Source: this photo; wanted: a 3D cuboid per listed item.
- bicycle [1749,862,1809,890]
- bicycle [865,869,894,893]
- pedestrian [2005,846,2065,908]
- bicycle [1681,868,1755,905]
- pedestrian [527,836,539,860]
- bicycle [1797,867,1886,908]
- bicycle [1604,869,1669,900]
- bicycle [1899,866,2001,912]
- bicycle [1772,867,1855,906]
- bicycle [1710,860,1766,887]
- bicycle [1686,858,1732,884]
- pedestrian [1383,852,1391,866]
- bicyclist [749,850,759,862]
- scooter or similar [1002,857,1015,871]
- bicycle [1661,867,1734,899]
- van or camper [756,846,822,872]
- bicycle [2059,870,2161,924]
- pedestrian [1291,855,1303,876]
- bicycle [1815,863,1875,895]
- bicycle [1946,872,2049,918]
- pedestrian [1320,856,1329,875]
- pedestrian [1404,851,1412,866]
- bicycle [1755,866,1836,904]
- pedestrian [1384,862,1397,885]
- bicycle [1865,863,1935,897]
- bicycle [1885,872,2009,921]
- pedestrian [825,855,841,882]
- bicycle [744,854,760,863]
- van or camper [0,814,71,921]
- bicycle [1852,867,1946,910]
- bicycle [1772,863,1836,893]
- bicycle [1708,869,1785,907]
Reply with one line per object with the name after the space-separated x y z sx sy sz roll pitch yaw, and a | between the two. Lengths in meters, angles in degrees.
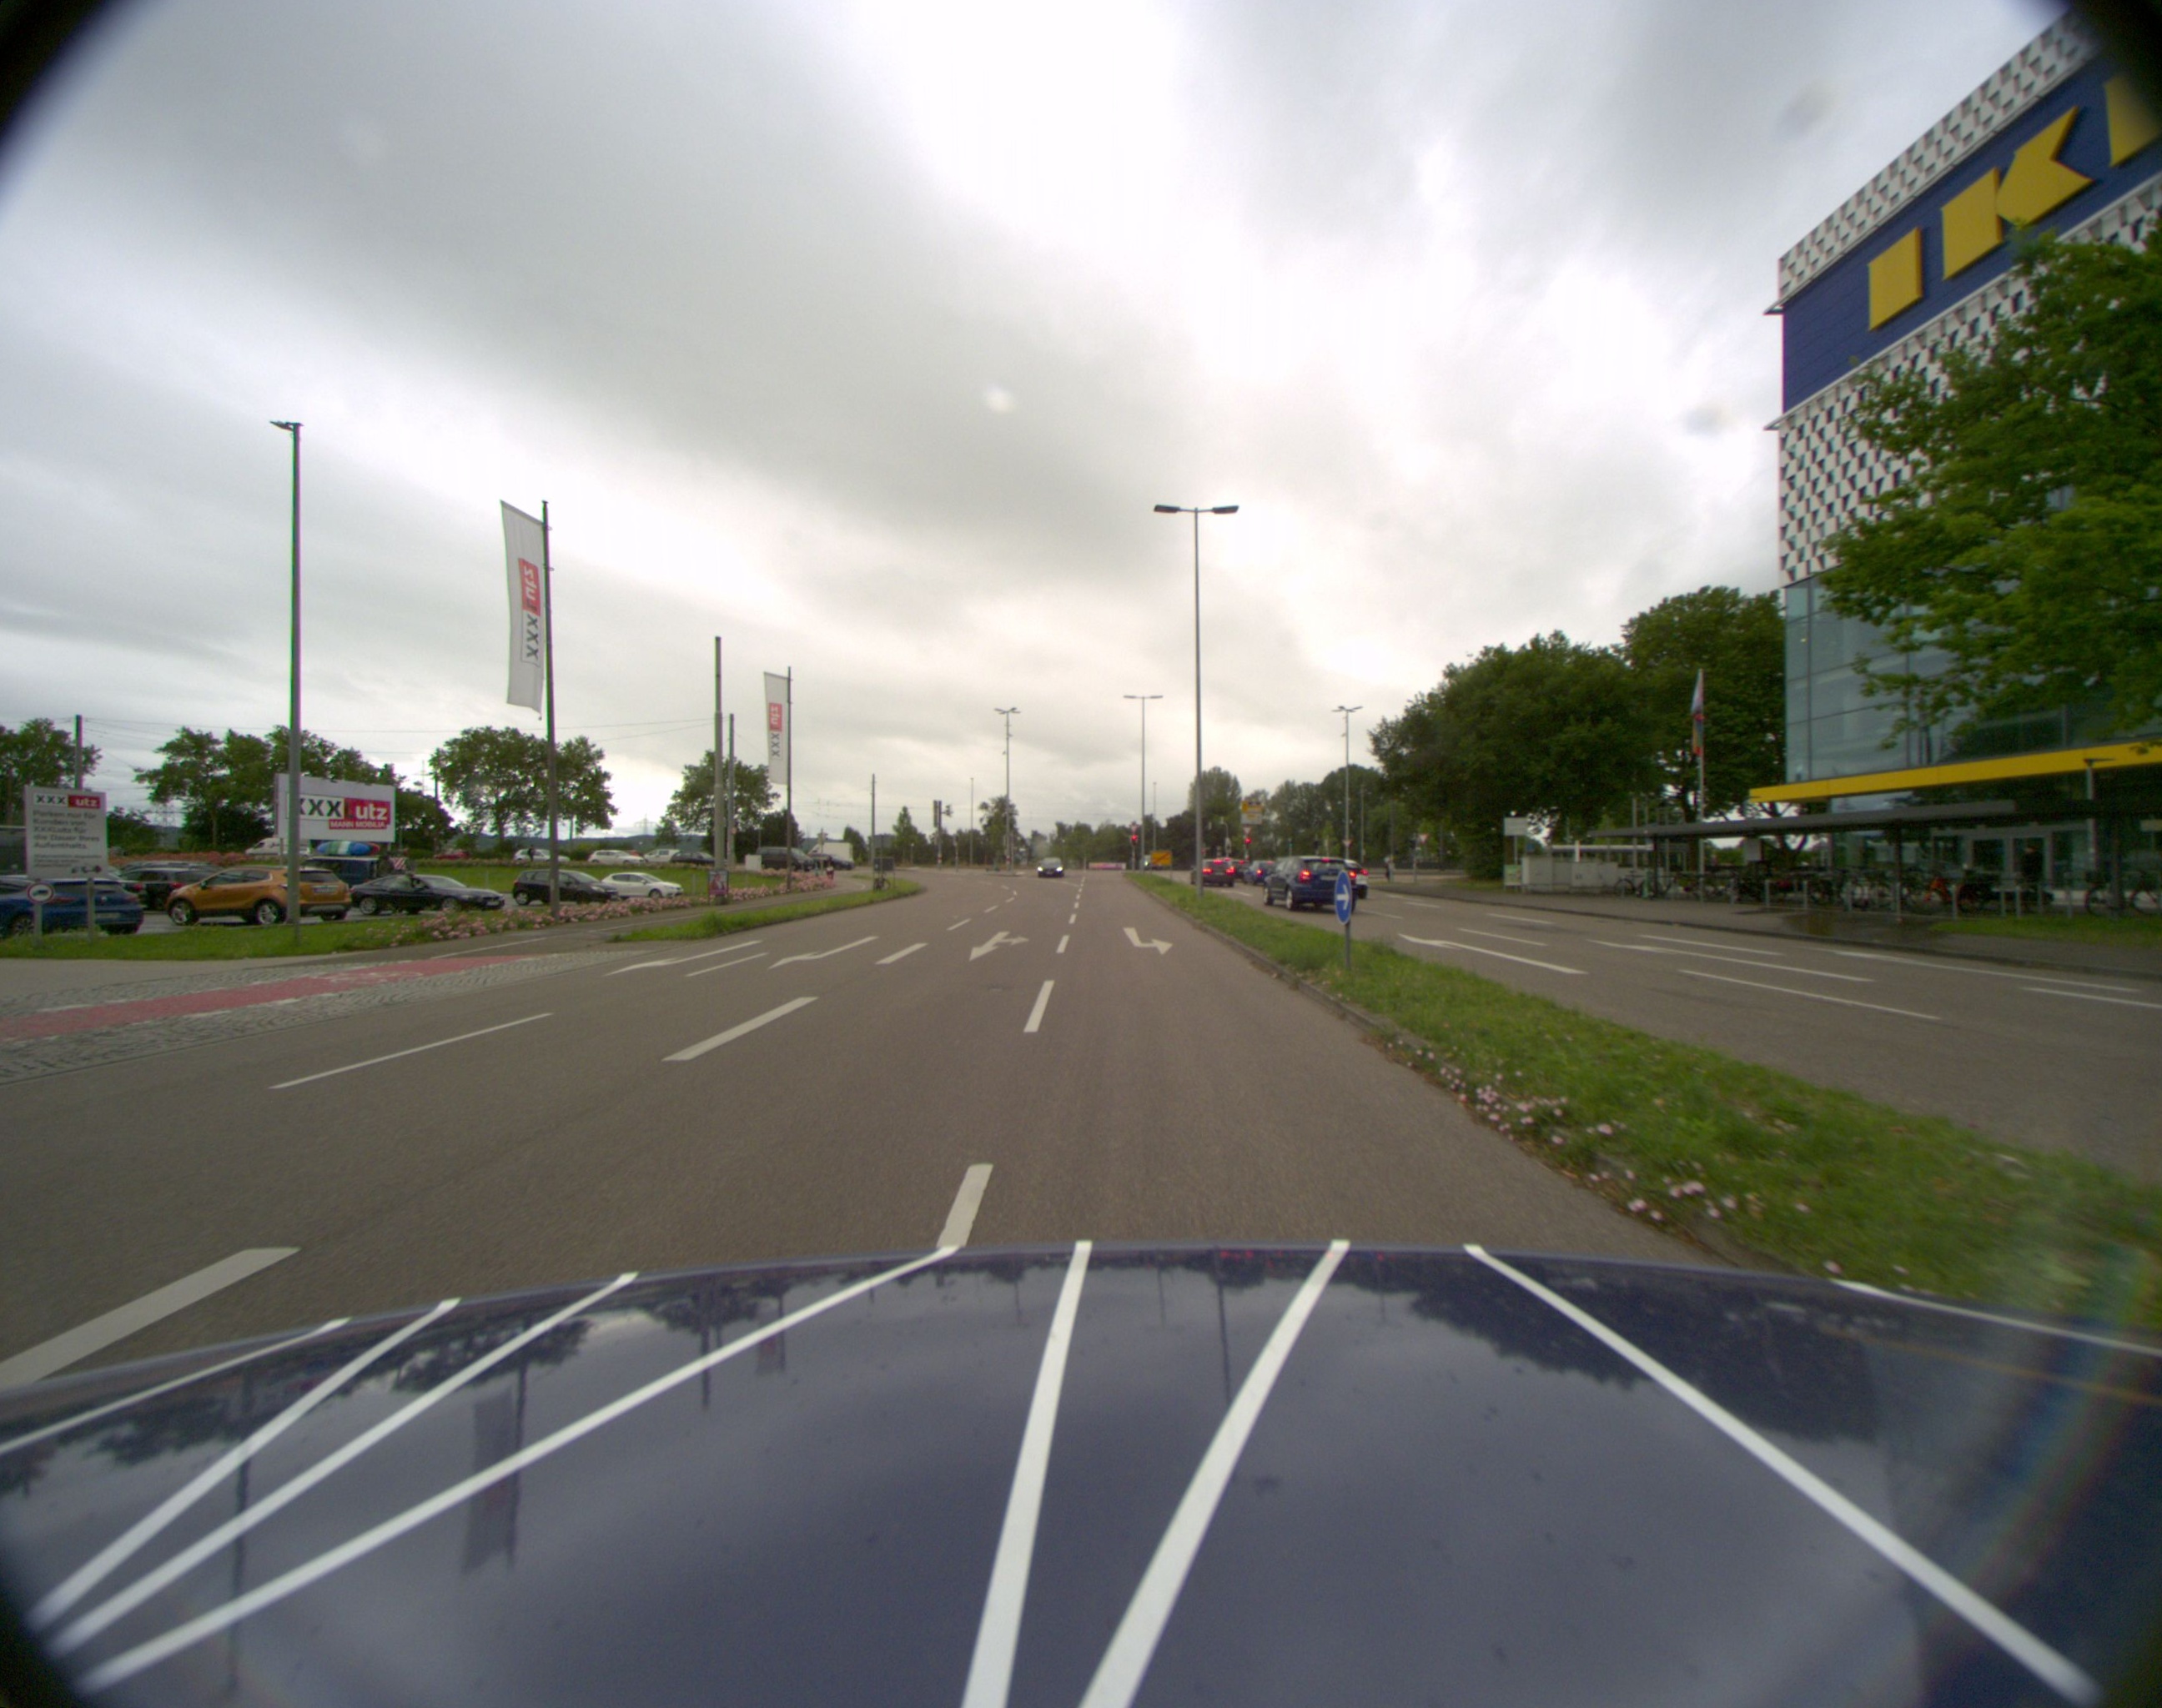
29.692 0.930 32.336 2.021 1.150 0.593 -2 0 0 | bicycle
-9.366 1.225 35.376 0.664 1.042 1.692 0 1 8 | bicycle
27.399 0.656 21.838 0.679 1.735 0.808 -1 -1 1 | pedestrian
21.326 1.092 25.460 1.898 1.150 0.594 -2 0 1 | bicycle
-42.048 -0.452 58.285 0.636 1.770 0.545 2 -3 -45 | pedestrian
23.006 1.005 23.011 2.020 1.150 0.594 -2 0 1 | bicycle
21.187 1.151 28.978 2.020 1.150 0.594 -1 0 1 | bicycle
23.534 0.933 20.591 2.020 1.150 0.594 -2 0 1 | bicycle
23.339 1.032 24.228 2.020 1.150 0.594 -2 0 1 | bicycle
29.857 0.879 34.544 2.021 1.150 0.593 -2 0 0 | bicycle
29.694 0.810 35.939 2.023 1.150 0.593 -2 0 -15 | bicycle
35.262 0.537 87.442 0.632 1.550 0.711 0 -2 3 | pedestrian
-40.942 0.220 95.224 0.968 1.445 0.691 2 2 -7 | bicyclist
-6.441 0.913 67.558 1.016 1.249 0.465 1 1 15 | scooter or similar
23.283 1.093 28.722 2.018 1.150 0.594 -2 0 18 | bicycle
-23.994 0.382 62.413 4.743 2.002 2.126 2 2 17 | van or camper
23.443 0.958 17.065 2.020 1.116 0.594 -2 0 4 | bicycle
19.073 1.006 67.063 0.664 1.755 0.686 3 4 -2 | pedestrian
29.608 0.957 29.450 2.023 1.150 0.593 -2 0 -12 | bicycle
23.214 1.021 19.257 1.814 1.075 0.594 -2 0 1 | bicycle
22.432 1.060 69.984 0.675 1.702 0.766 0 1 5 | pedestrian
37.637 0.513 87.529 0.586 1.731 0.788 -1 -2 3 | pedestrian
23.425 1.020 24.935 2.020 1.150 0.594 -2 0 1 | bicycle
22.433 1.391 55.057 0.635 1.633 0.809 0 2 -1 | pedestrian
29.641 0.920 27.504 2.021 1.150 0.593 -2 0 -5 | bicycle
21.668 1.056 19.053 2.018 1.150 0.594 -2 0 16 | bicycle
-15.249 0.895 46.668 0.718 1.588 0.781 -2 3 -35 | pedestrian
-41.203 0.609 95.245 1.709 1.040 0.548 2 2 -7 | bicycle
-32.371 0.379 21.600 5.390 2.966 1.992 0 0 8 | van or camper
23.550 0.989 21.893 2.020 1.150 0.594 -2 0 1 | bicycle
29.652 0.964 31.182 2.021 1.150 0.593 -2 0 0 | bicycle
21.333 1.088 24.379 1.898 1.150 0.594 -2 0 1 | bicycle
